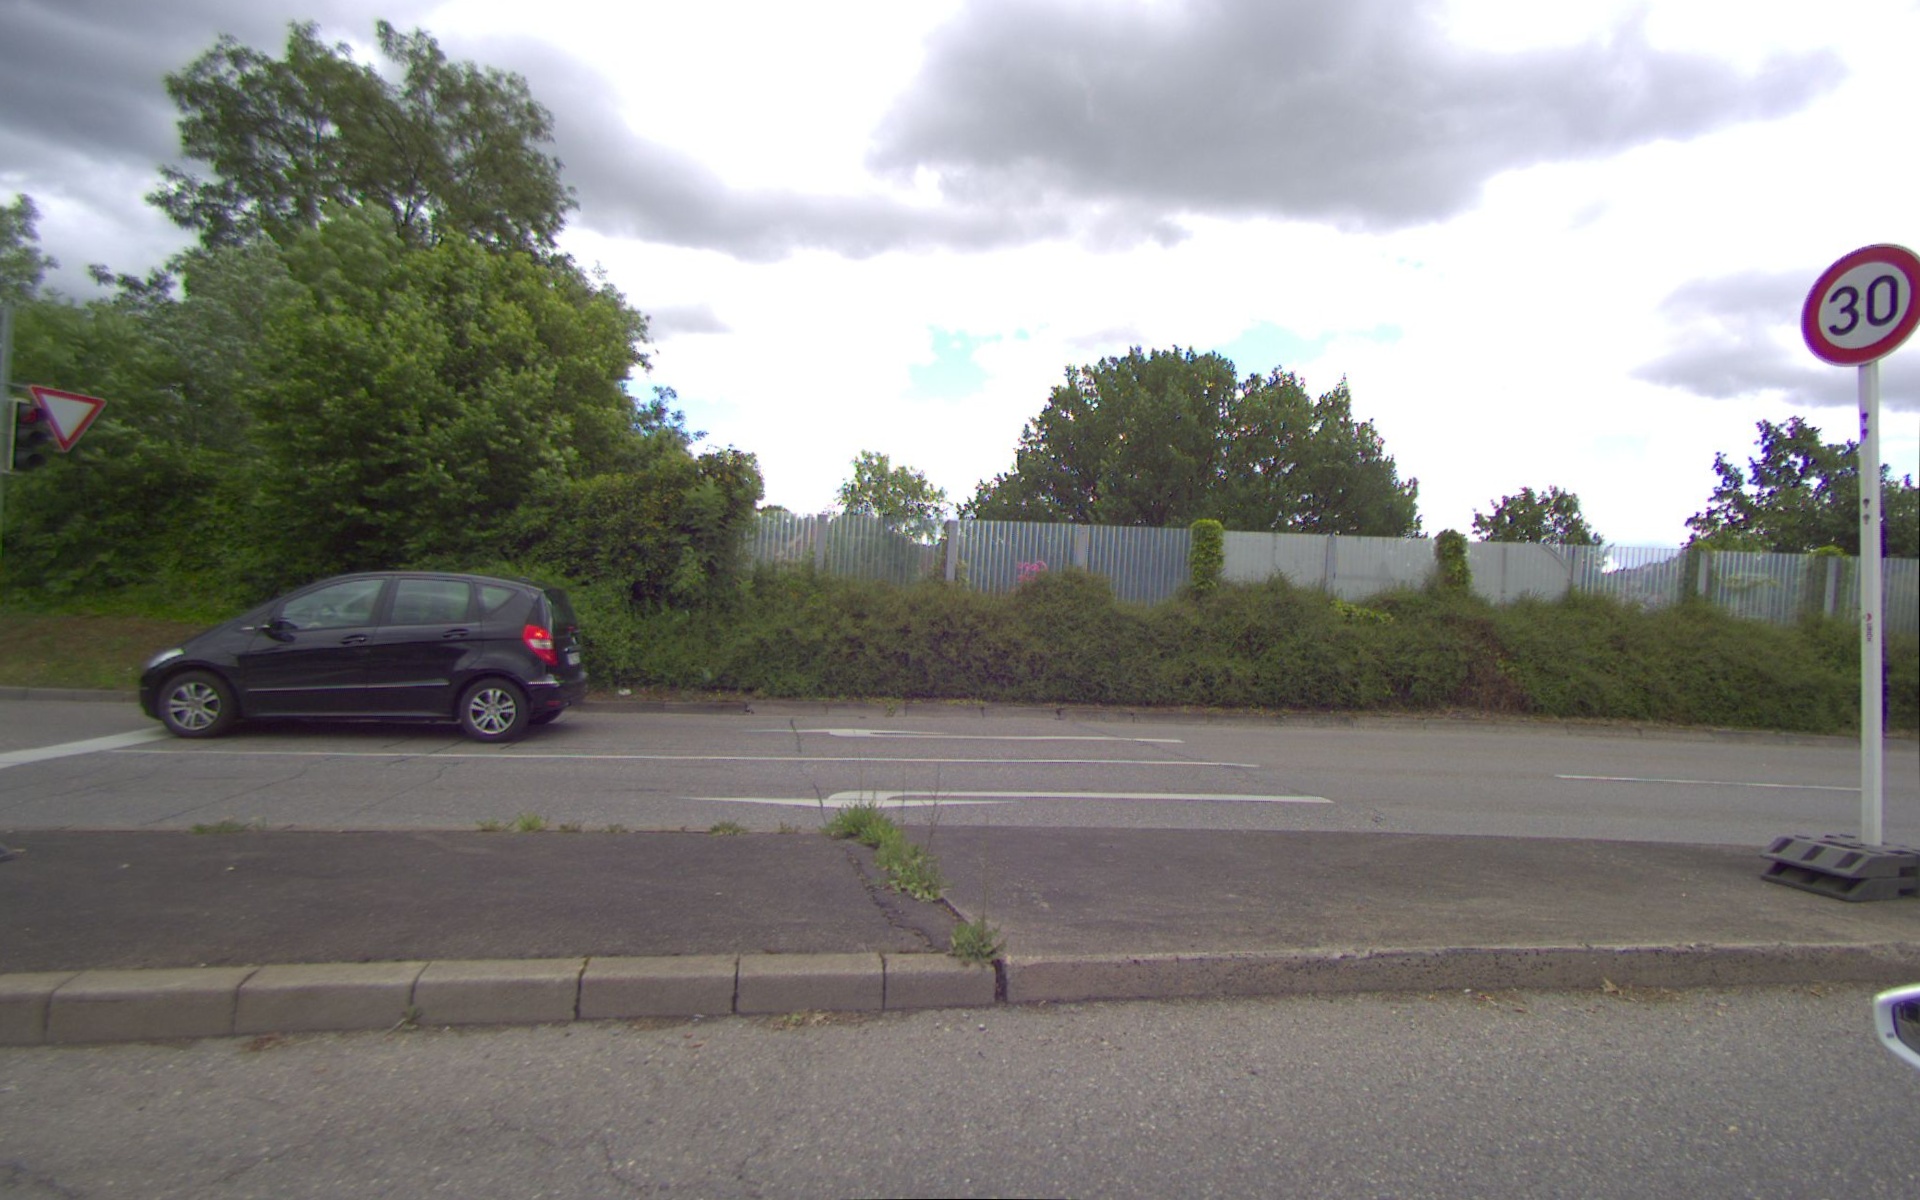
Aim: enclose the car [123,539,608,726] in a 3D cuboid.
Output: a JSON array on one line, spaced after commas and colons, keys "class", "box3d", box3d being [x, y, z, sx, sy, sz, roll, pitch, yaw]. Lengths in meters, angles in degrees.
[{"class": "car", "box3d": [-5.622, 0.343, 9.961, 3.720, 1.572, 1.641, 2, -2, -10]}]
